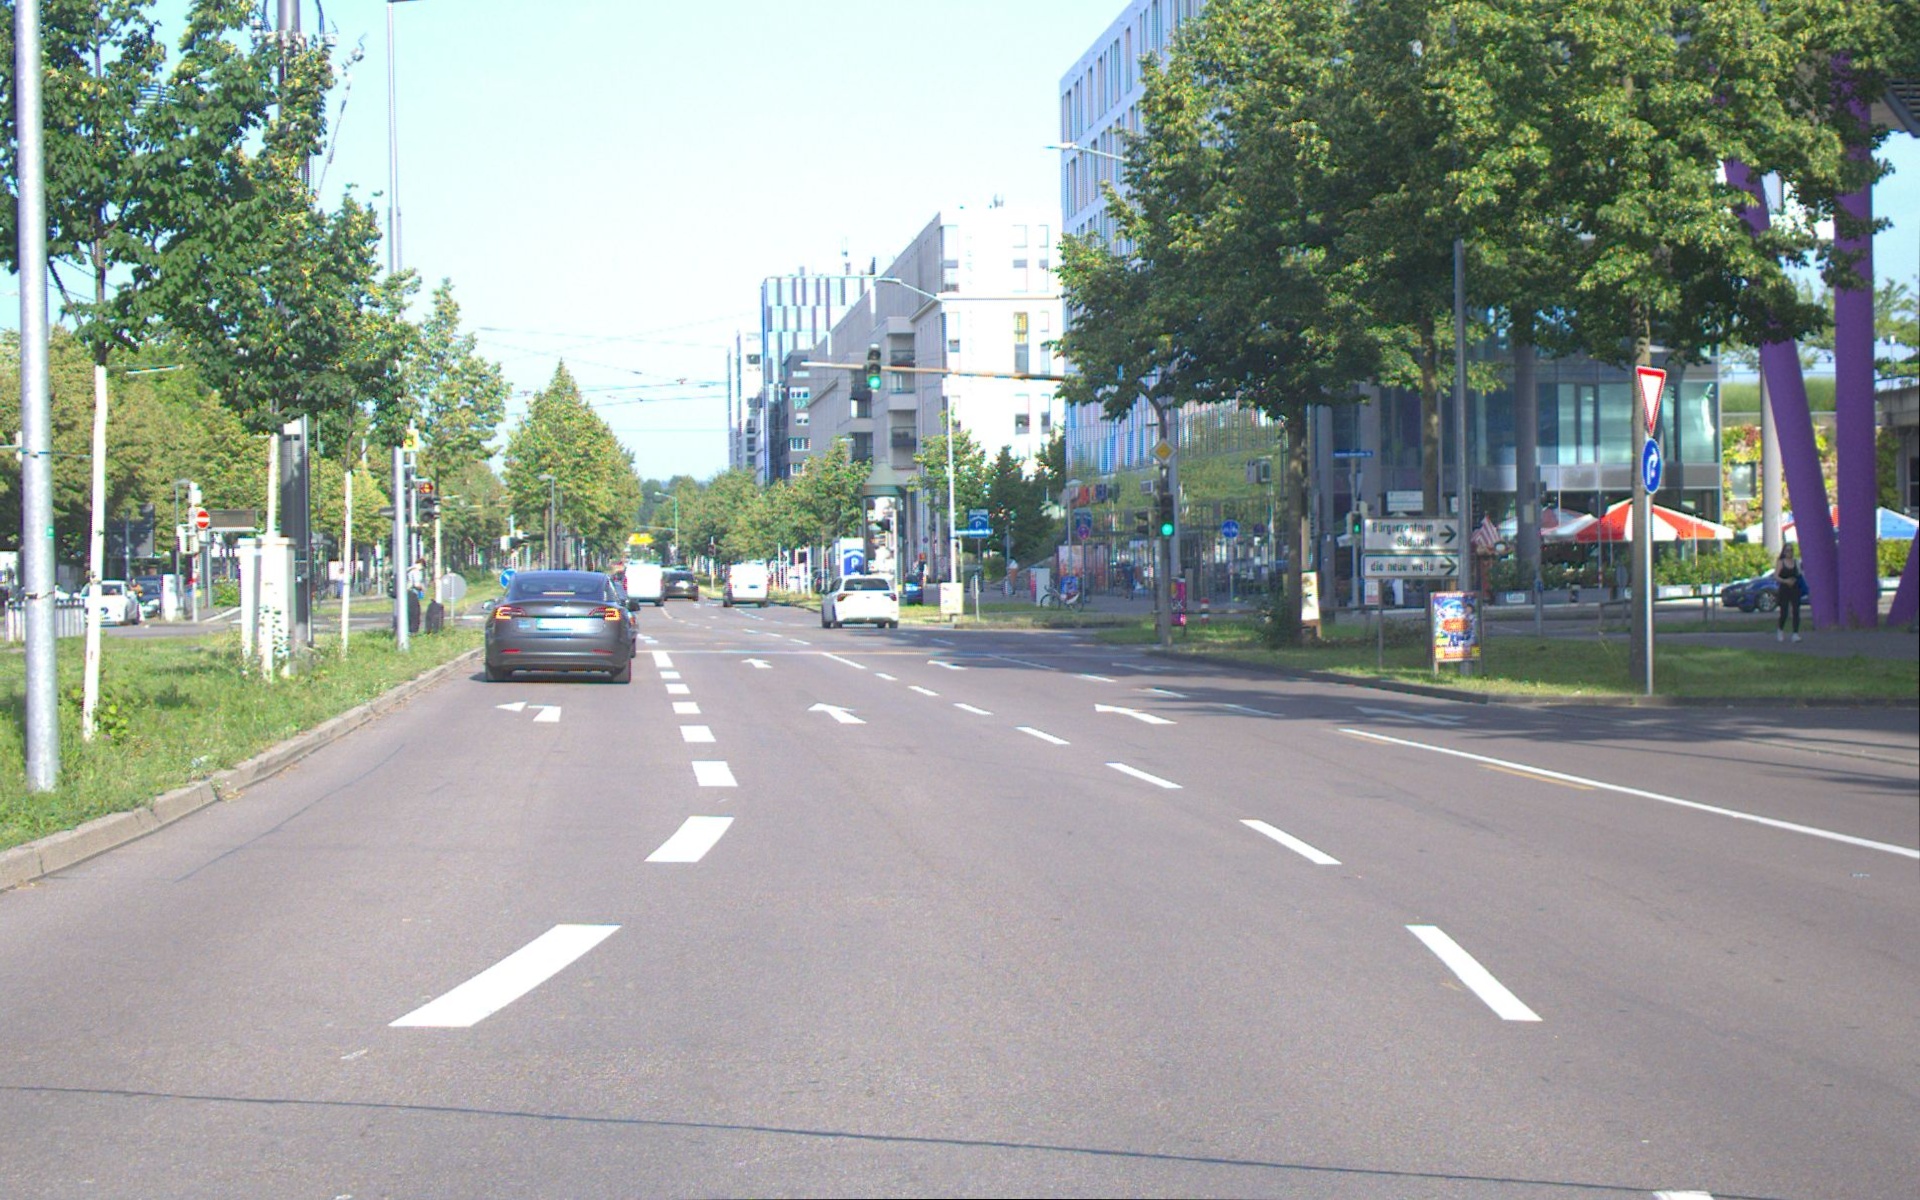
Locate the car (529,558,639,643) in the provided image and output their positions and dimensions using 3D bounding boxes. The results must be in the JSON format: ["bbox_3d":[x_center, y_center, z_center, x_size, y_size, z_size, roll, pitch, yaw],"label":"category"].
[{"bbox_3d":[-6.405,-0.019,58.479,1.763,1.325,4.401,1,1,-6],"label":"car"}]

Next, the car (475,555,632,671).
[{"bbox_3d":[-5.240,0.136,44.571,1.889,1.381,4.335,1,1,-6],"label":"car"}]

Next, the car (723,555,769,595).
[{"bbox_3d":[-9.228,-1.086,148.255,1.864,1.678,4.001,1,1,-5],"label":"car"}]

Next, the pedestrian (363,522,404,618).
[{"bbox_3d":[-10.834,-0.562,64.636,0.699,1.786,0.635,1,0,-5],"label":"pedestrian"}]

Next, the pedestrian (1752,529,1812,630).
[{"bbox_3d":[13.610,-0.348,56.950,0.694,1.633,0.737,-3,1,-6],"label":"pedestrian"}]

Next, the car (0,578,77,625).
[{"bbox_3d":[-31.856,0.037,118.839,1.993,1.522,4.313,-1,1,-6],"label":"car"}]

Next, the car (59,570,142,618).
[{"bbox_3d":[-27.923,-0.194,111.809,1.993,1.499,4.093,0,0,-5],"label":"car"}]

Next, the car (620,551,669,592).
[{"bbox_3d":[-13.614,-1.250,148.490,2.014,1.678,4.001,1,1,-5],"label":"car"}]

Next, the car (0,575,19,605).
[{"bbox_3d":[-50.118,-0.509,177.622,1.881,1.554,4.000,-1,0,0],"label":"car"}]

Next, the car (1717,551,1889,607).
[{"bbox_3d":[23.156,-0.587,94.480,4.183,1.419,1.859,-1,1,-6],"label":"car"}]

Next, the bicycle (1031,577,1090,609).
[{"bbox_3d":[3.330,-0.242,114.256,1.877,1.029,0.772,-1,1,41],"label":"bicycle"}]

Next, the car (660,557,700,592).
[{"bbox_3d":[-13.847,-1.284,170.056,1.923,1.678,4.001,1,1,-5],"label":"car"}]

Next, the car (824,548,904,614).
[{"bbox_3d":[-2.571,-0.528,91.135,1.864,1.678,4.001,1,1,-5],"label":"car"}]
